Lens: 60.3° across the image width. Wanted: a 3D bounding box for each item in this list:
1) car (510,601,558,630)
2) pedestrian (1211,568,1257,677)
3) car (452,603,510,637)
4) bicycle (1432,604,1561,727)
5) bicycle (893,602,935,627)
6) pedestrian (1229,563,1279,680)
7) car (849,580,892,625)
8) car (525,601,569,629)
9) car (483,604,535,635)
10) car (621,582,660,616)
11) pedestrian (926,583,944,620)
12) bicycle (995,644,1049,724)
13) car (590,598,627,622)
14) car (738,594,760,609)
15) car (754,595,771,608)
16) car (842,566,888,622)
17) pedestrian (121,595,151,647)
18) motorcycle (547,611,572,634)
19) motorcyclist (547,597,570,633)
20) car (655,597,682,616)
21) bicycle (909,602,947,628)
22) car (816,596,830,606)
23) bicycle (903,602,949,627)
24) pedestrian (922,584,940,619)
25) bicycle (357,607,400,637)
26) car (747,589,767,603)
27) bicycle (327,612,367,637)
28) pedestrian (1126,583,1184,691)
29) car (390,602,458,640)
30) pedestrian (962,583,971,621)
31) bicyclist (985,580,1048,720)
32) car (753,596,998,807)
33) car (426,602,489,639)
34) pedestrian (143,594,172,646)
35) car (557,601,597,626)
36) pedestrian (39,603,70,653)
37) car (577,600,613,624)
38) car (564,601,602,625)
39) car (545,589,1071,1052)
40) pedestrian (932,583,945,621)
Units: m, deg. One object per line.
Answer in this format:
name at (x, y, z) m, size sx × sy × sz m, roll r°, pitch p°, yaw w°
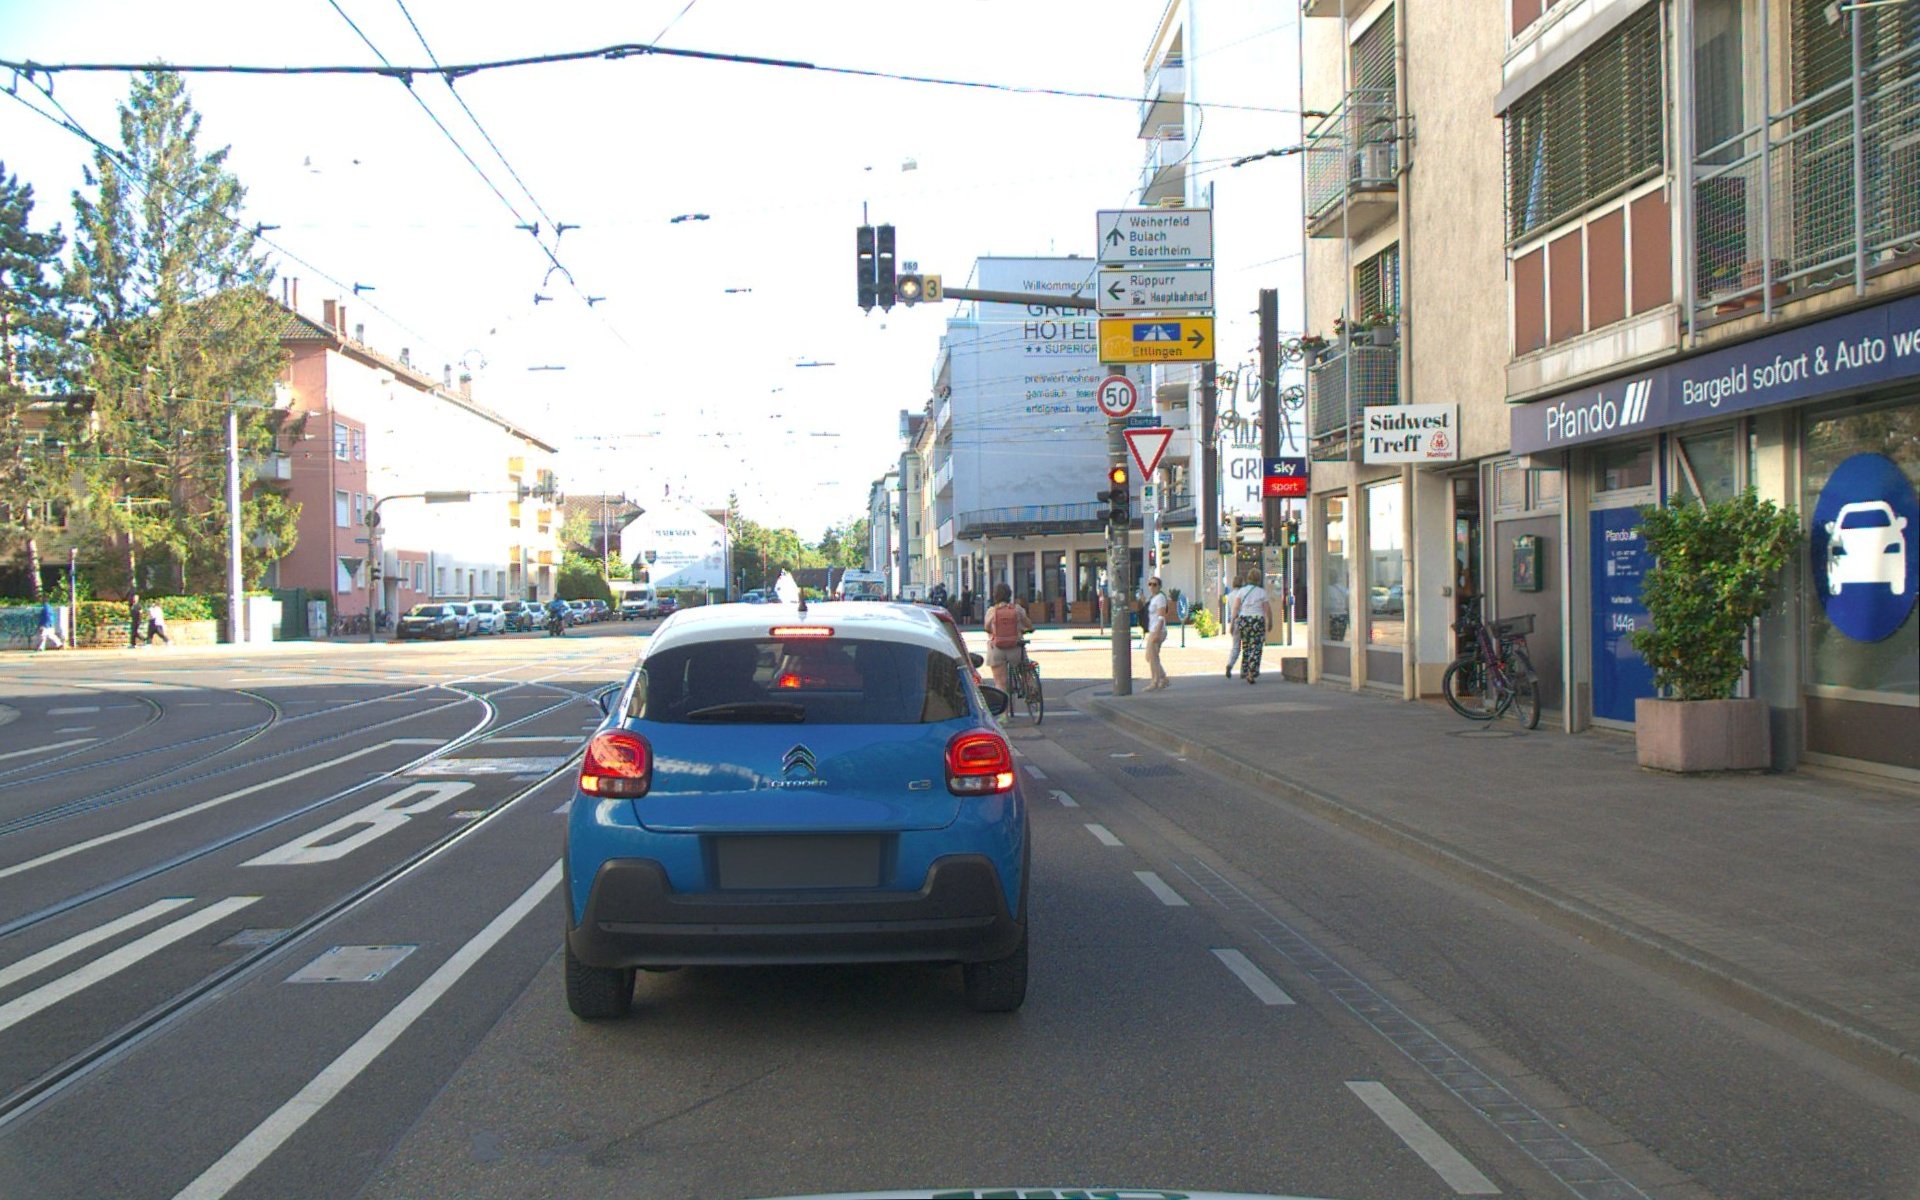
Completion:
car at (-23.604, 0.822, 91.738) m, size 1.874 × 1.523 × 3.996 m, roll -1°, pitch 0°, yaw -5°
pedestrian at (4.404, 0.358, 26.615) m, size 0.530 × 1.701 × 0.624 m, roll -3°, pitch 2°, yaw -3°
car at (-22.784, 0.918, 78.830) m, size 1.874 × 1.523 × 3.996 m, roll -1°, pitch 0°, yaw -5°
bicycle at (5.110, 0.594, 15.864) m, size 0.519 × 1.091 × 1.809 m, roll -1°, pitch 0°, yaw -4°
bicycle at (-1.898, 0.599, 68.384) m, size 1.684 × 0.973 × 0.702 m, roll -1°, pitch 0°, yaw 1°
pedestrian at (4.390, 0.313, 24.721) m, size 0.530 × 1.701 × 0.650 m, roll -3°, pitch 0°, yaw -3°
car at (-3.666, 0.097, 67.475) m, size 1.698 × 1.780 × 3.211 m, roll 0°, pitch 0°, yaw -4°
car at (-24.272, 0.883, 97.299) m, size 1.874 × 1.523 × 3.996 m, roll -1°, pitch 0°, yaw -5°
car at (-23.322, 0.988, 85.604) m, size 1.874 × 1.523 × 3.996 m, roll -1°, pitch 0°, yaw -5°
car at (-22.946, -0.083, 118.966) m, size 2.164 × 2.290 × 4.672 m, roll -1°, pitch 0°, yaw -5°
pedestrian at (-1.105, 0.067, 72.676) m, size 0.637 × 1.583 × 0.490 m, roll -1°, pitch 0°, yaw -23°
bicycle at (0.756, 1.019, 20.513) m, size 0.489 × 0.879 × 1.748 m, roll -1°, pitch 0°, yaw -3°
car at (-25.721, 0.726, 121.199) m, size 1.990 × 1.647 × 4.508 m, roll -1°, pitch 0°, yaw -3°
car at (-21.531, 0.156, 169.082) m, size 1.982 × 1.552 × 3.996 m, roll -1°, pitch 0°, yaw -5°
car at (-24.535, 0.133, 205.766) m, size 1.982 × 1.552 × 3.996 m, roll -1°, pitch 0°, yaw -5°
car at (-4.164, -0.248, 72.383) m, size 1.954 × 2.366 × 3.997 m, roll 0°, pitch 0°, yaw -4°
pedestrian at (-27.853, 0.701, 55.889) m, size 0.730 × 1.720 × 0.835 m, roll -1°, pitch 0°, yaw -38°
motorcycle at (-16.228, 0.895, 67.033) m, size 0.603 × 0.879 × 1.670 m, roll -1°, pitch 0°, yaw -1°
motorcyclist at (-16.221, 0.603, 66.878) m, size 0.704 × 1.402 × 0.911 m, roll -1°, pitch 0°, yaw -1°
car at (-25.374, 0.570, 144.106) m, size 1.982 × 1.552 × 3.996 m, roll -1°, pitch 0°, yaw -5°
bicycle at (-1.259, 0.592, 65.976) m, size 1.473 × 0.973 × 0.702 m, roll -1°, pitch 0°, yaw 1°
car at (-18.189, 0.072, 219.541) m, size 1.722 × 1.281 × 3.826 m, roll -1°, pitch 0°, yaw -8°
bicycle at (-1.364, 0.593, 67.034) m, size 1.835 × 0.973 × 0.702 m, roll -1°, pitch 0°, yaw 1°
pedestrian at (-1.310, 0.071, 74.476) m, size 0.637 × 1.583 × 0.490 m, roll -1°, pitch 0°, yaw -23°
bicycle at (-25.699, 0.965, 73.188) m, size 0.831 × 1.247 × 3.302 m, roll -1°, pitch 0°, yaw -2°
car at (-22.955, -0.431, 187.101) m, size 1.982 × 1.552 × 3.996 m, roll -1°, pitch 0°, yaw -5°
bicycle at (-24.881, 0.986, 67.188) m, size 0.718 × 0.968 × 2.596 m, roll -1°, pitch 0°, yaw -2°
pedestrian at (2.868, 0.543, 24.277) m, size 0.599 × 1.534 × 0.541 m, roll -2°, pitch 2°, yaw 36°
car at (-22.150, 0.845, 68.489) m, size 1.874 × 1.458 × 3.995 m, roll -1°, pitch 0°, yaw -6°
pedestrian at (0.278, 0.073, 70.157) m, size 0.279 × 1.583 × 0.304 m, roll -1°, pitch 0°, yaw -10°
bicyclist at (0.687, 0.602, 20.301) m, size 0.711 × 1.674 × 0.790 m, roll -1°, pitch 0°, yaw -1°
car at (-0.620, 0.707, 13.635) m, size 1.703 × 1.445 × 3.999 m, roll -1°, pitch 0°, yaw -1°
car at (-22.506, 0.887, 74.211) m, size 1.874 × 1.523 × 3.996 m, roll -1°, pitch 0°, yaw -5°
pedestrian at (-27.003, 0.680, 55.651) m, size 0.729 × 1.720 × 0.835 m, roll -1°, pitch 0°, yaw -37°
car at (-24.469, 0.852, 105.700) m, size 1.874 × 1.523 × 3.996 m, roll -1°, pitch 0°, yaw -5°
pedestrian at (-30.288, 0.933, 55.313) m, size 0.840 × 1.654 × 0.509 m, roll -1°, pitch 0°, yaw -34°
car at (-25.514, 0.815, 115.776) m, size 1.833 × 1.601 × 3.997 m, roll -1°, pitch 0°, yaw -4°
car at (-25.196, 0.862, 110.688) m, size 1.874 × 1.523 × 3.996 m, roll -1°, pitch 0°, yaw -5°
car at (-0.710, 0.703, 7.410) m, size 1.710 × 1.488 × 3.994 m, roll 0°, pitch 0°, yaw -7°
pedestrian at (-0.907, 0.078, 69.933) m, size 0.482 × 1.583 × 0.383 m, roll -1°, pitch 0°, yaw -4°
